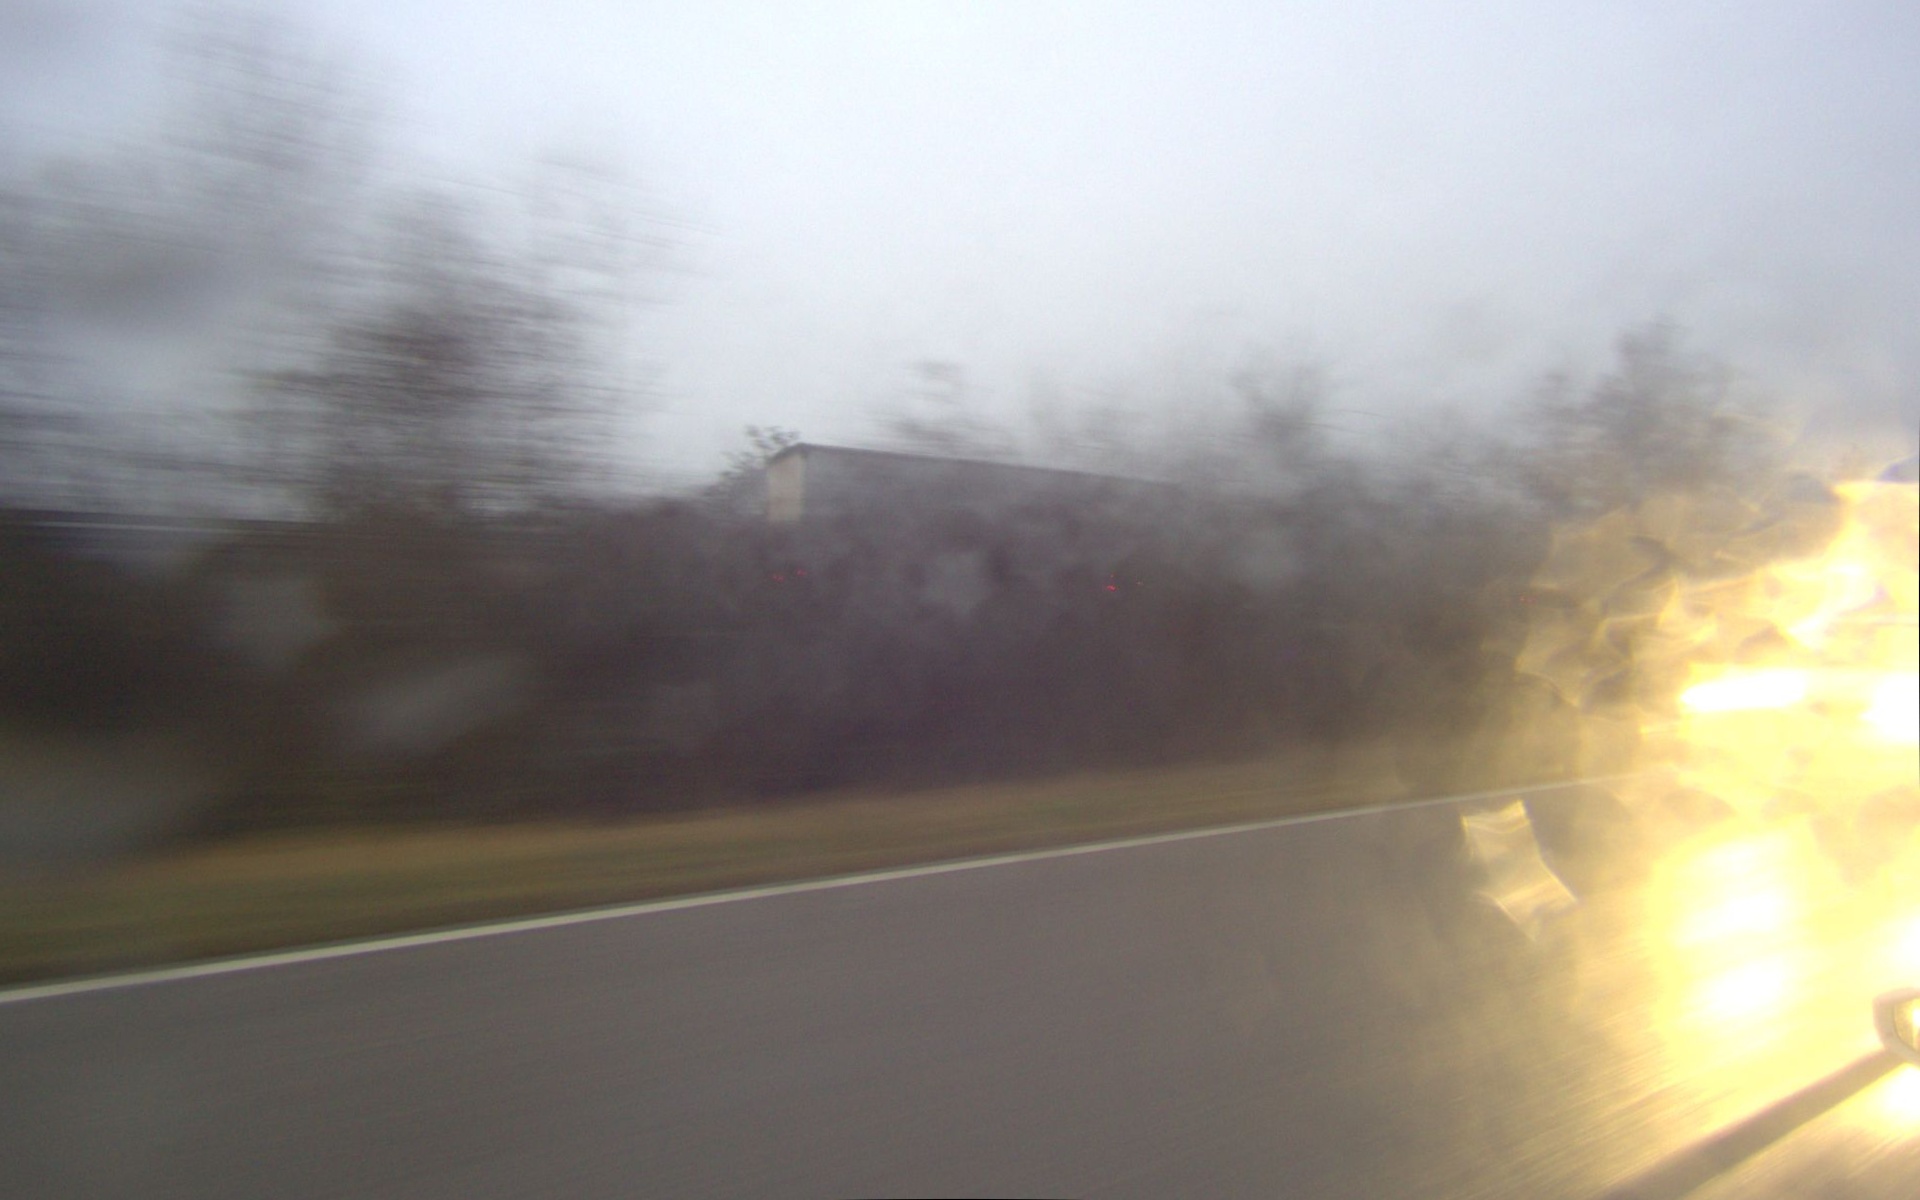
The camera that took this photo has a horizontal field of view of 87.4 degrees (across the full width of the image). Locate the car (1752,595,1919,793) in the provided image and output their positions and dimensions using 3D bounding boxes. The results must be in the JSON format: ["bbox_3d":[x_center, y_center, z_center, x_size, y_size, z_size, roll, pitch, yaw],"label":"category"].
[{"bbox_3d":[9.532,0.819,9.706,3.930,1.652,1.664,1,0,-31],"label":"car"}]

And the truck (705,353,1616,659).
[{"bbox_3d":[10.860,-1.917,38.968,39.677,7.815,7.507,2,0,-30],"label":"truck"}]
